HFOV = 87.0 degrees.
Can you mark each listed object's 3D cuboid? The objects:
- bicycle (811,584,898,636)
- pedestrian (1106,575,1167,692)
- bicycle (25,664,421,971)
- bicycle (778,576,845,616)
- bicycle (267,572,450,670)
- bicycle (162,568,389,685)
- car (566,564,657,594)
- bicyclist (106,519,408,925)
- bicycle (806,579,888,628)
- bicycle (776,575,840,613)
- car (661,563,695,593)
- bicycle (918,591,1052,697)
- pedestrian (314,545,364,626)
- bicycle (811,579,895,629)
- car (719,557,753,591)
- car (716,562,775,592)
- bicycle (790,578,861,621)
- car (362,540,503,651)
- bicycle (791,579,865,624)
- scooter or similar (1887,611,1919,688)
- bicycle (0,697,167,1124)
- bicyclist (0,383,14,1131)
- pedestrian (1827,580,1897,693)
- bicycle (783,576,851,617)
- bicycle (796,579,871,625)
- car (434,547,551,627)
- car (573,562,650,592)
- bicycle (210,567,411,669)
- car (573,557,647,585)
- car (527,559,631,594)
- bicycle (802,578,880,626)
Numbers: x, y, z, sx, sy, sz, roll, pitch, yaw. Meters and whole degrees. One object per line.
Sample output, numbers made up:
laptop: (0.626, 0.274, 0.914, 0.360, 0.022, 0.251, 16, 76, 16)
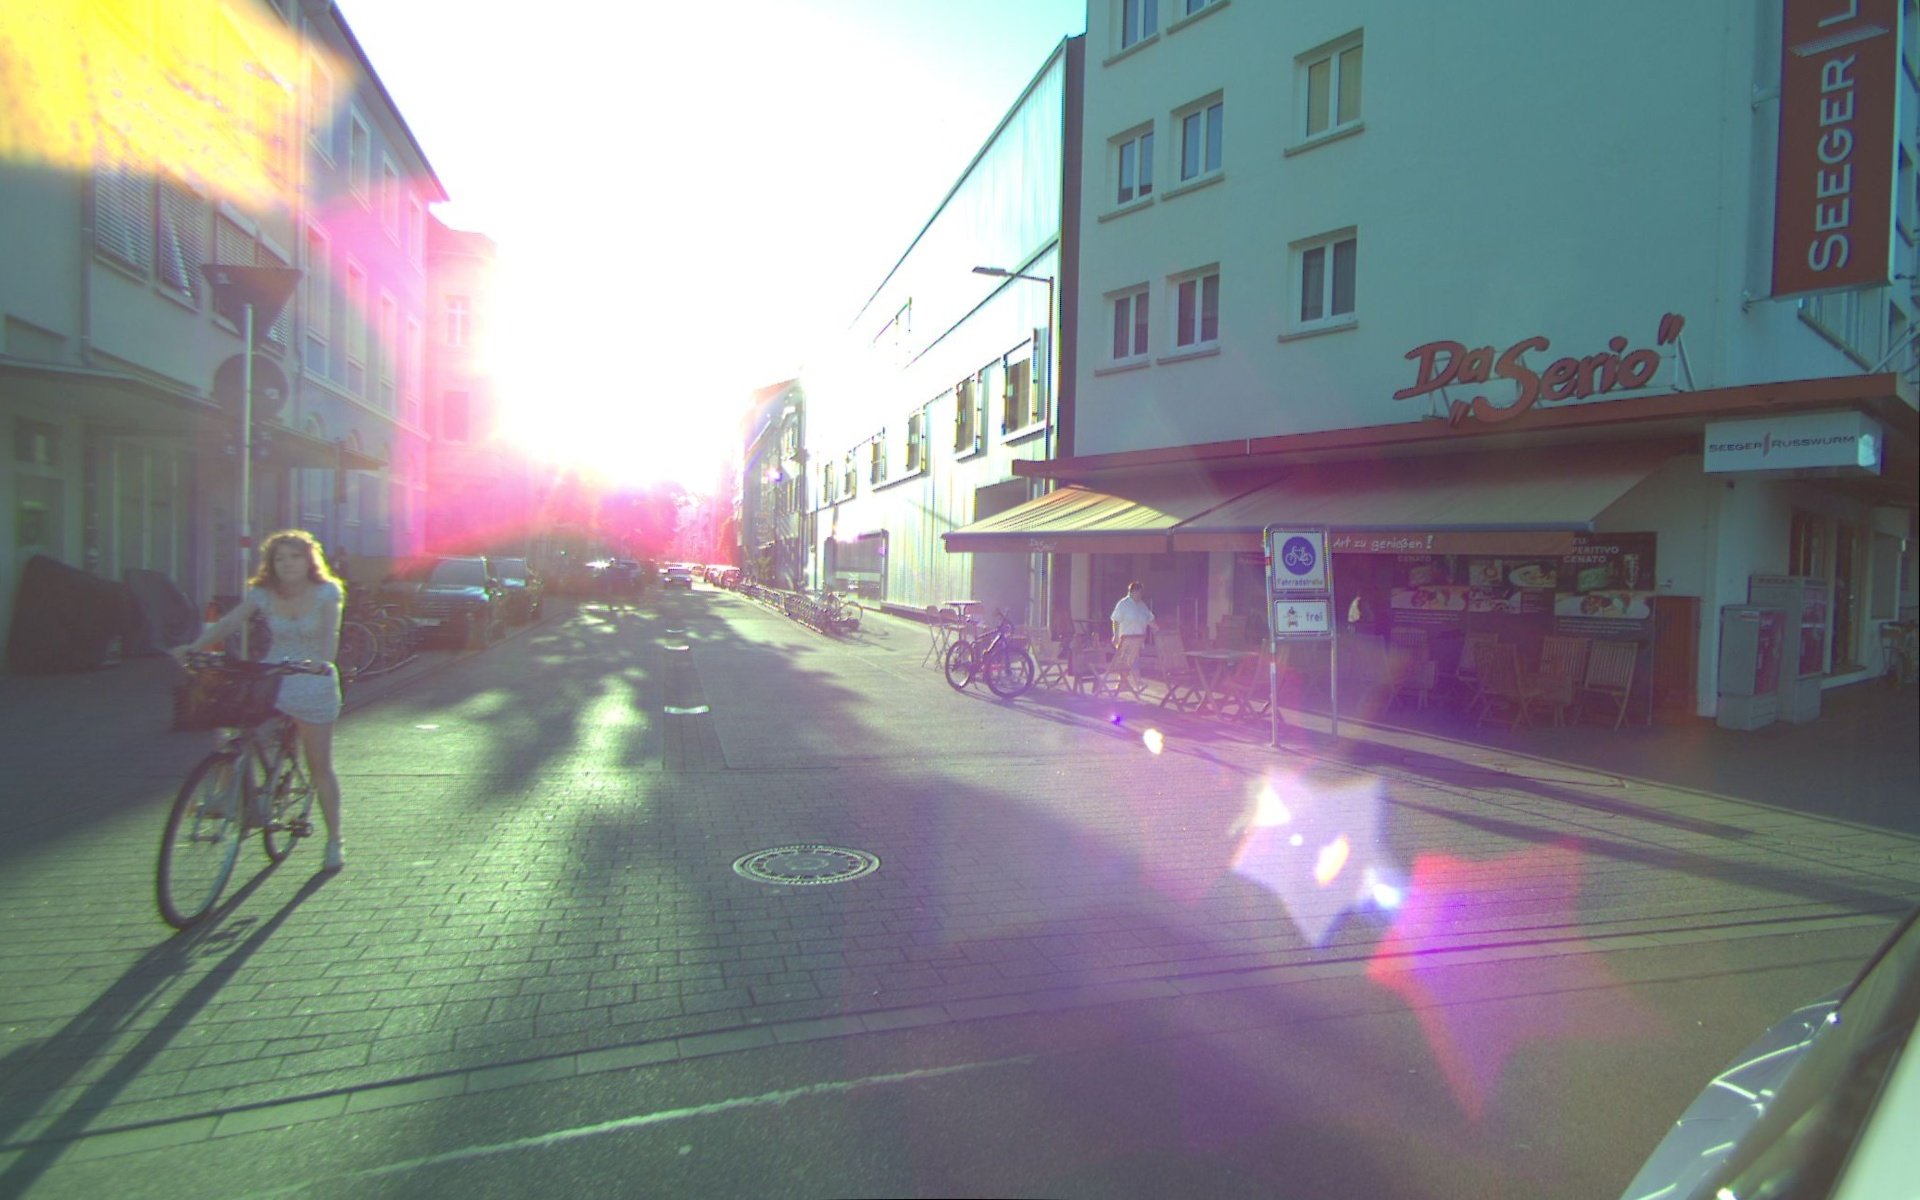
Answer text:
bicycle: (-2.696, 0.248, 25.943, 2.068, 1.235, 0.706, 2, 0, -17)
pedestrian: (2.424, 0.446, 13.927, 0.564, 1.560, 0.572, 0, 1, -40)
bicycle: (-3.178, 0.836, 4.651, 0.823, 0.892, 2.017, 1, 2, -16)
bicycle: (-4.917, -0.139, 33.576, 2.068, 1.235, 0.706, 2, 0, -17)
bicycle: (-8.586, 0.300, 14.549, 2.068, 1.235, 0.706, 5, 0, -17)
bicycle: (-8.180, 0.317, 12.198, 2.068, 1.235, 0.706, 5, 0, -17)
car: (-17.776, -1.069, 51.700, 3.928, 1.404, 1.998, 0, 2, -40)
bicyclist: (-3.194, 0.485, 4.735, 0.823, 1.643, 1.117, 1, 1, -16)
bicycle: (-3.077, 0.093, 27.610, 2.068, 1.235, 0.706, 2, 0, -17)
bicycle: (-5.369, -0.220, 35.726, 2.069, 1.235, 0.706, 2, 0, -24)
car: (-19.267, -1.475, 69.261, 1.958, 2.039, 4.008, 0, 0, -12)
bicycle: (0.300, 0.559, 14.019, 0.691, 1.303, 2.113, 1, 2, -36)
pedestrian: (-12.212, -0.291, 19.925, 0.663, 1.545, 0.601, 2, 0, -19)
bicycle: (-2.833, 0.110, 26.825, 2.068, 1.235, 0.706, 2, 0, -17)
car: (-13.871, -1.556, 62.835, 1.958, 2.039, 4.266, 0, 0, -12)
car: (-14.880, -1.583, 70.071, 3.916, 2.039, 2.004, 0, 0, -14)
bicycle: (-4.203, -0.028, 31.565, 2.068, 1.235, 0.706, 2, 0, -17)
car: (-9.705, -0.133, 18.903, 1.854, 1.771, 4.009, 3, 1, -22)
bicycle: (-3.997, 0.043, 30.651, 2.068, 1.235, 0.706, 2, 0, -17)
scooter or similar: (15.807, 0.819, 16.539, 0.351, 1.217, 1.244, 2, 1, 12)
bicycle: (-3.031, 0.852, 2.146, 0.828, 1.032, 2.069, 2, 1, 13)
bicyclist: (-3.002, 0.411, 2.198, 0.828, 1.941, 1.110, 2, 1, 13)
pedestrian: (14.691, 0.581, 16.491, 0.593, 1.782, 0.526, 1, 1, 6)
bicycle: (-4.646, -0.107, 32.883, 2.068, 1.235, 0.706, 2, 0, -17)
bicycle: (-3.743, 0.059, 29.894, 2.068, 1.235, 0.706, 2, 0, -17)
car: (-11.714, -0.360, 25.644, 1.854, 1.771, 4.444, 3, 1, -14)
car: (-21.048, -1.373, 61.126, 3.933, 1.731, 1.996, 0, 2, -43)
bicycle: (-8.457, 0.240, 13.282, 2.068, 1.235, 0.706, 2, 0, -17)
car: (-22.044, -1.827, 63.813, 3.933, 1.627, 1.996, 0, 2, -43)
car: (-17.003, -1.039, 45.304, 1.989, 1.449, 3.947, 2, 2, 36)
bicycle: (-3.364, 0.055, 28.616, 2.068, 1.235, 0.706, 2, 0, -17)
